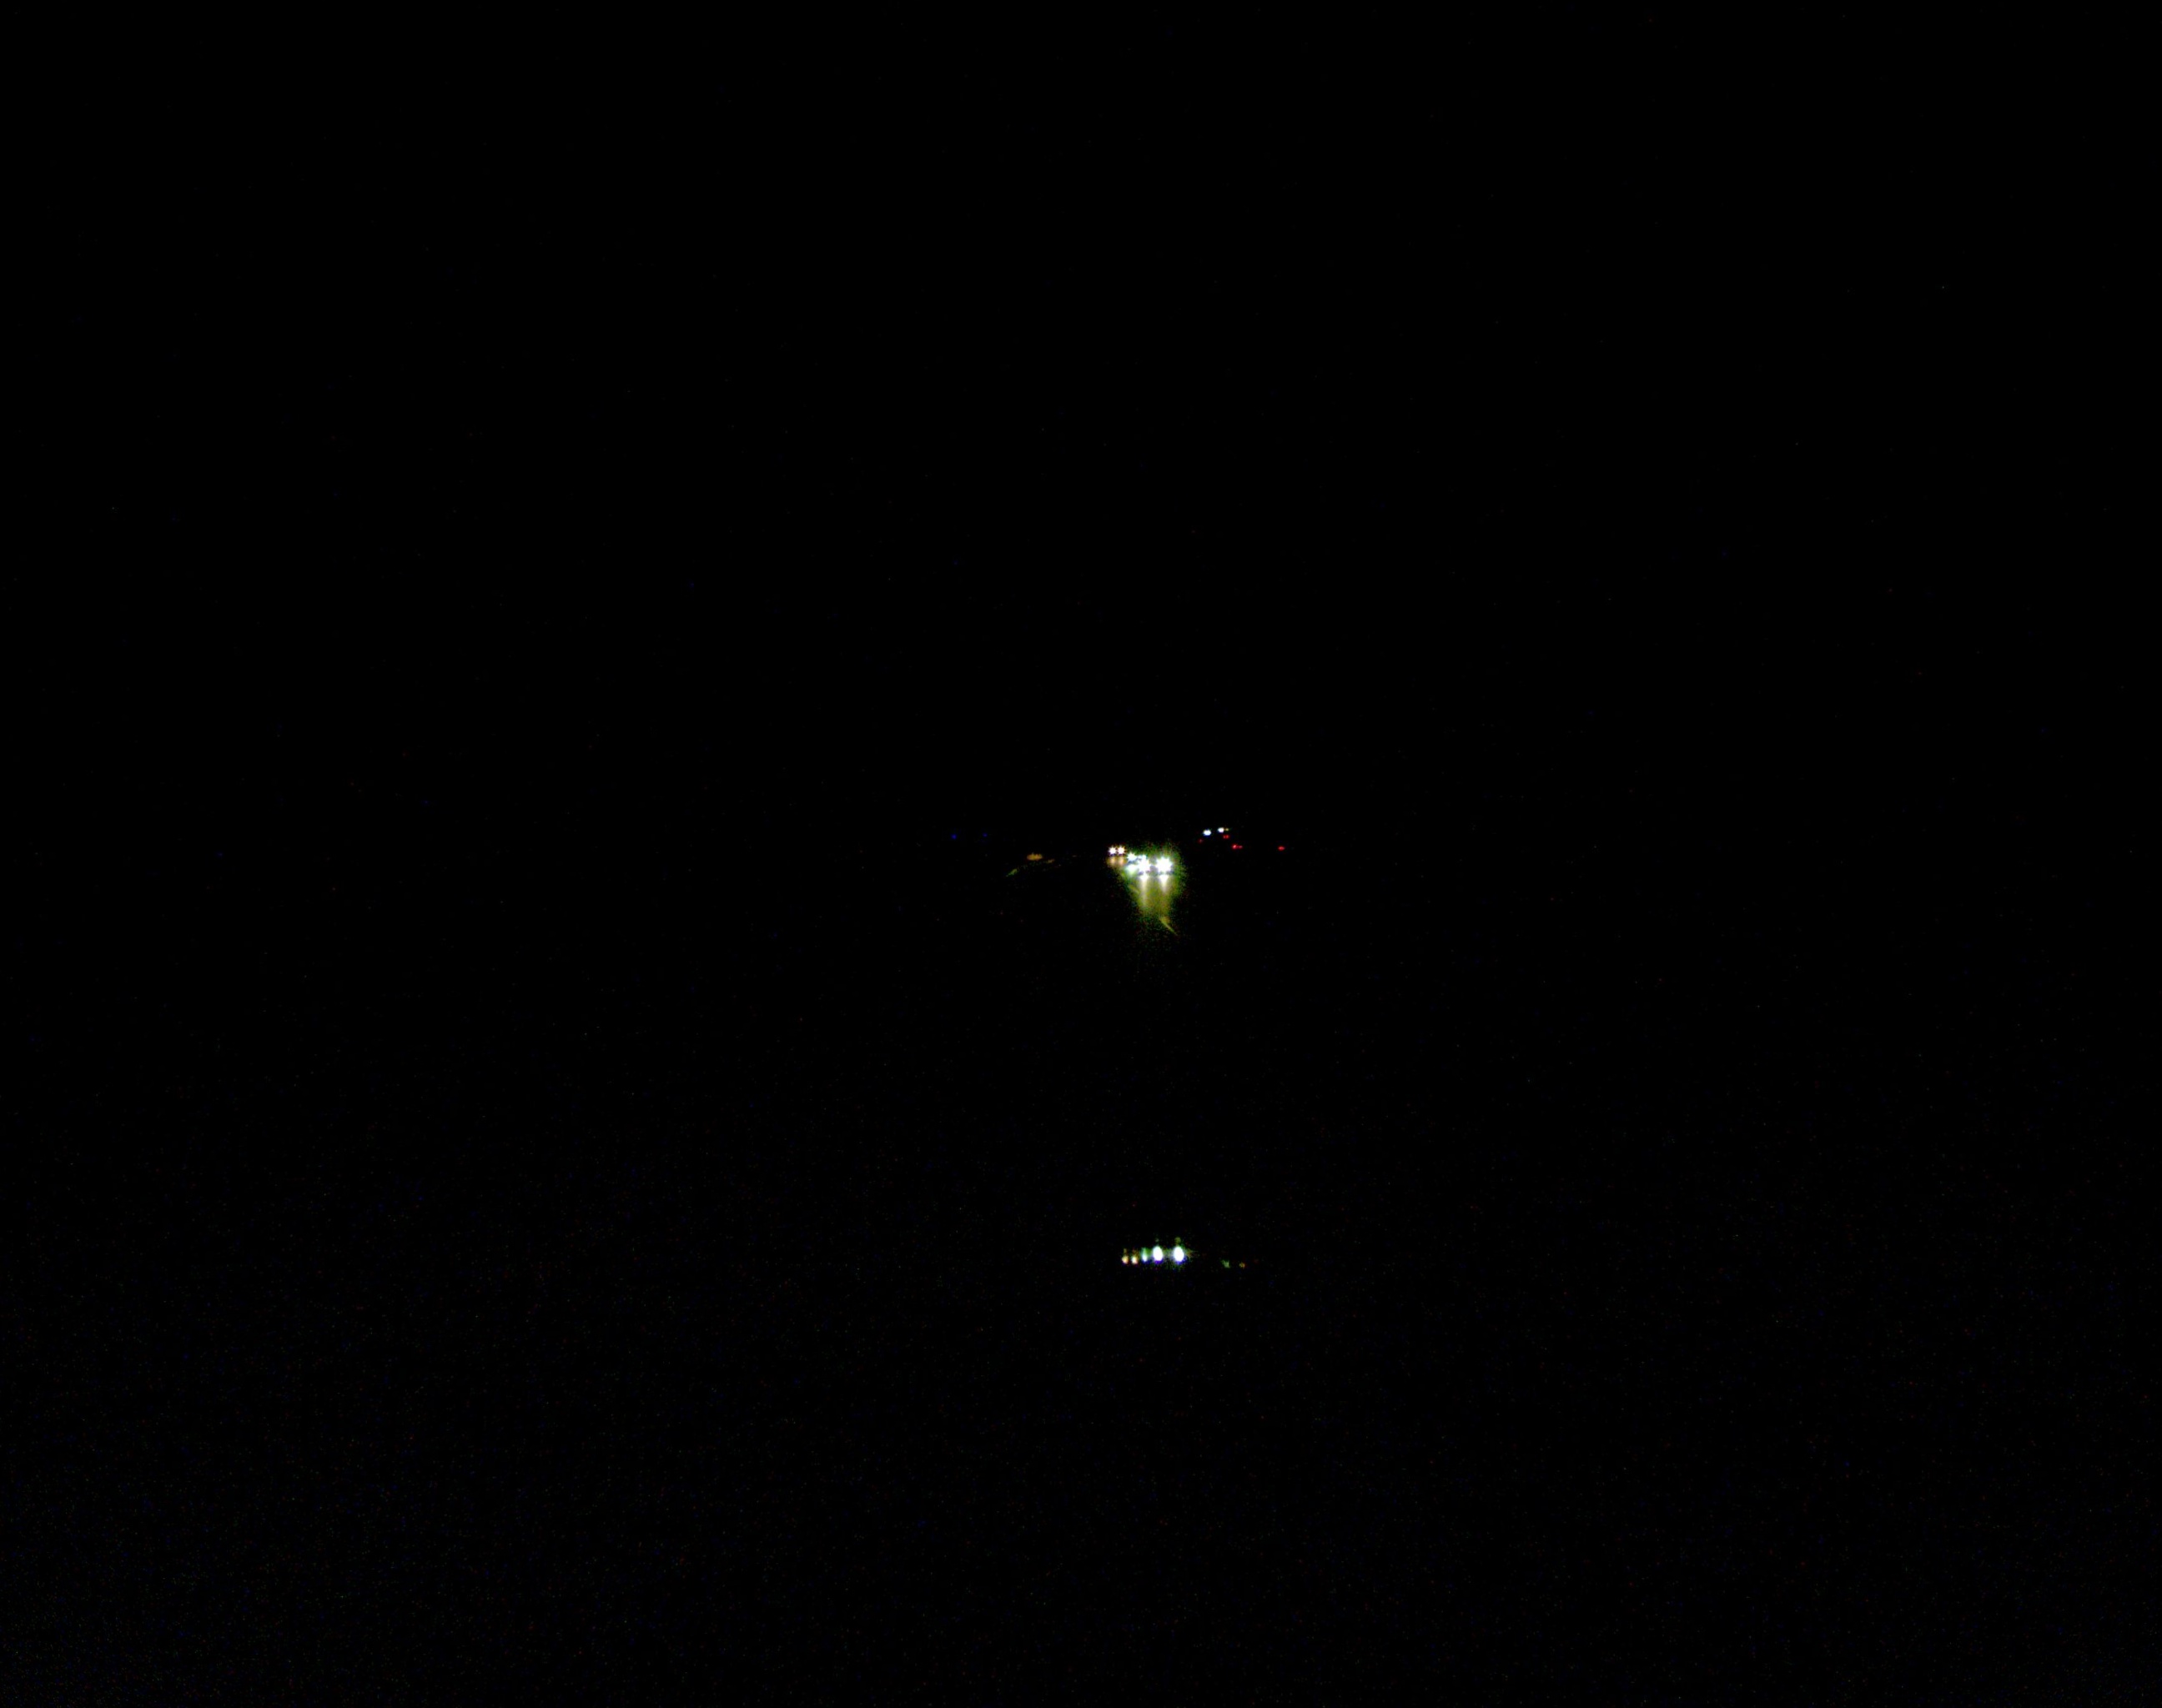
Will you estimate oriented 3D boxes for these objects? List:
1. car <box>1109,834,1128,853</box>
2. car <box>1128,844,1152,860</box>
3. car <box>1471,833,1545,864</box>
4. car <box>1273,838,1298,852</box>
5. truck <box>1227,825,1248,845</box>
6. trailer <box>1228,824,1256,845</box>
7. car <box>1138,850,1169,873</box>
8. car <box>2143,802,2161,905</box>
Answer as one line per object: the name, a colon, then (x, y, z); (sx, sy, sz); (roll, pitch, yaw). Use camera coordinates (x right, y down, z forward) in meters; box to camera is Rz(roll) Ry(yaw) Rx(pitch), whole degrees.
car: (6.668, -1.882, 134.482); (2.532, 2.889, 6.229); (-3, 2, 9)
car: (6.644, -0.225, 85.530); (1.996, 1.456, 4.002); (-2, 2, 14)
car: (25.330, -0.314, 45.244); (1.999, 1.716, 4.076); (-2, 0, -1)
car: (28.485, -1.295, 105.926); (2.403, 1.865, 4.512); (-2, 1, 2)
truck: (33.510, -4.148, 163.171); (3.598, 4.076, 5.994); (-2, 1, 4)
trailer: (33.022, -3.998, 156.333); (3.607, 4.067, 14.125); (-2, 1, 4)
car: (4.761, 0.462, 50.520); (1.832, 1.404, 4.001); (-3, 0, 3)
car: (20.427, -0.026, 11.851); (1.999, 1.843, 4.076); (-2, 0, -1)
